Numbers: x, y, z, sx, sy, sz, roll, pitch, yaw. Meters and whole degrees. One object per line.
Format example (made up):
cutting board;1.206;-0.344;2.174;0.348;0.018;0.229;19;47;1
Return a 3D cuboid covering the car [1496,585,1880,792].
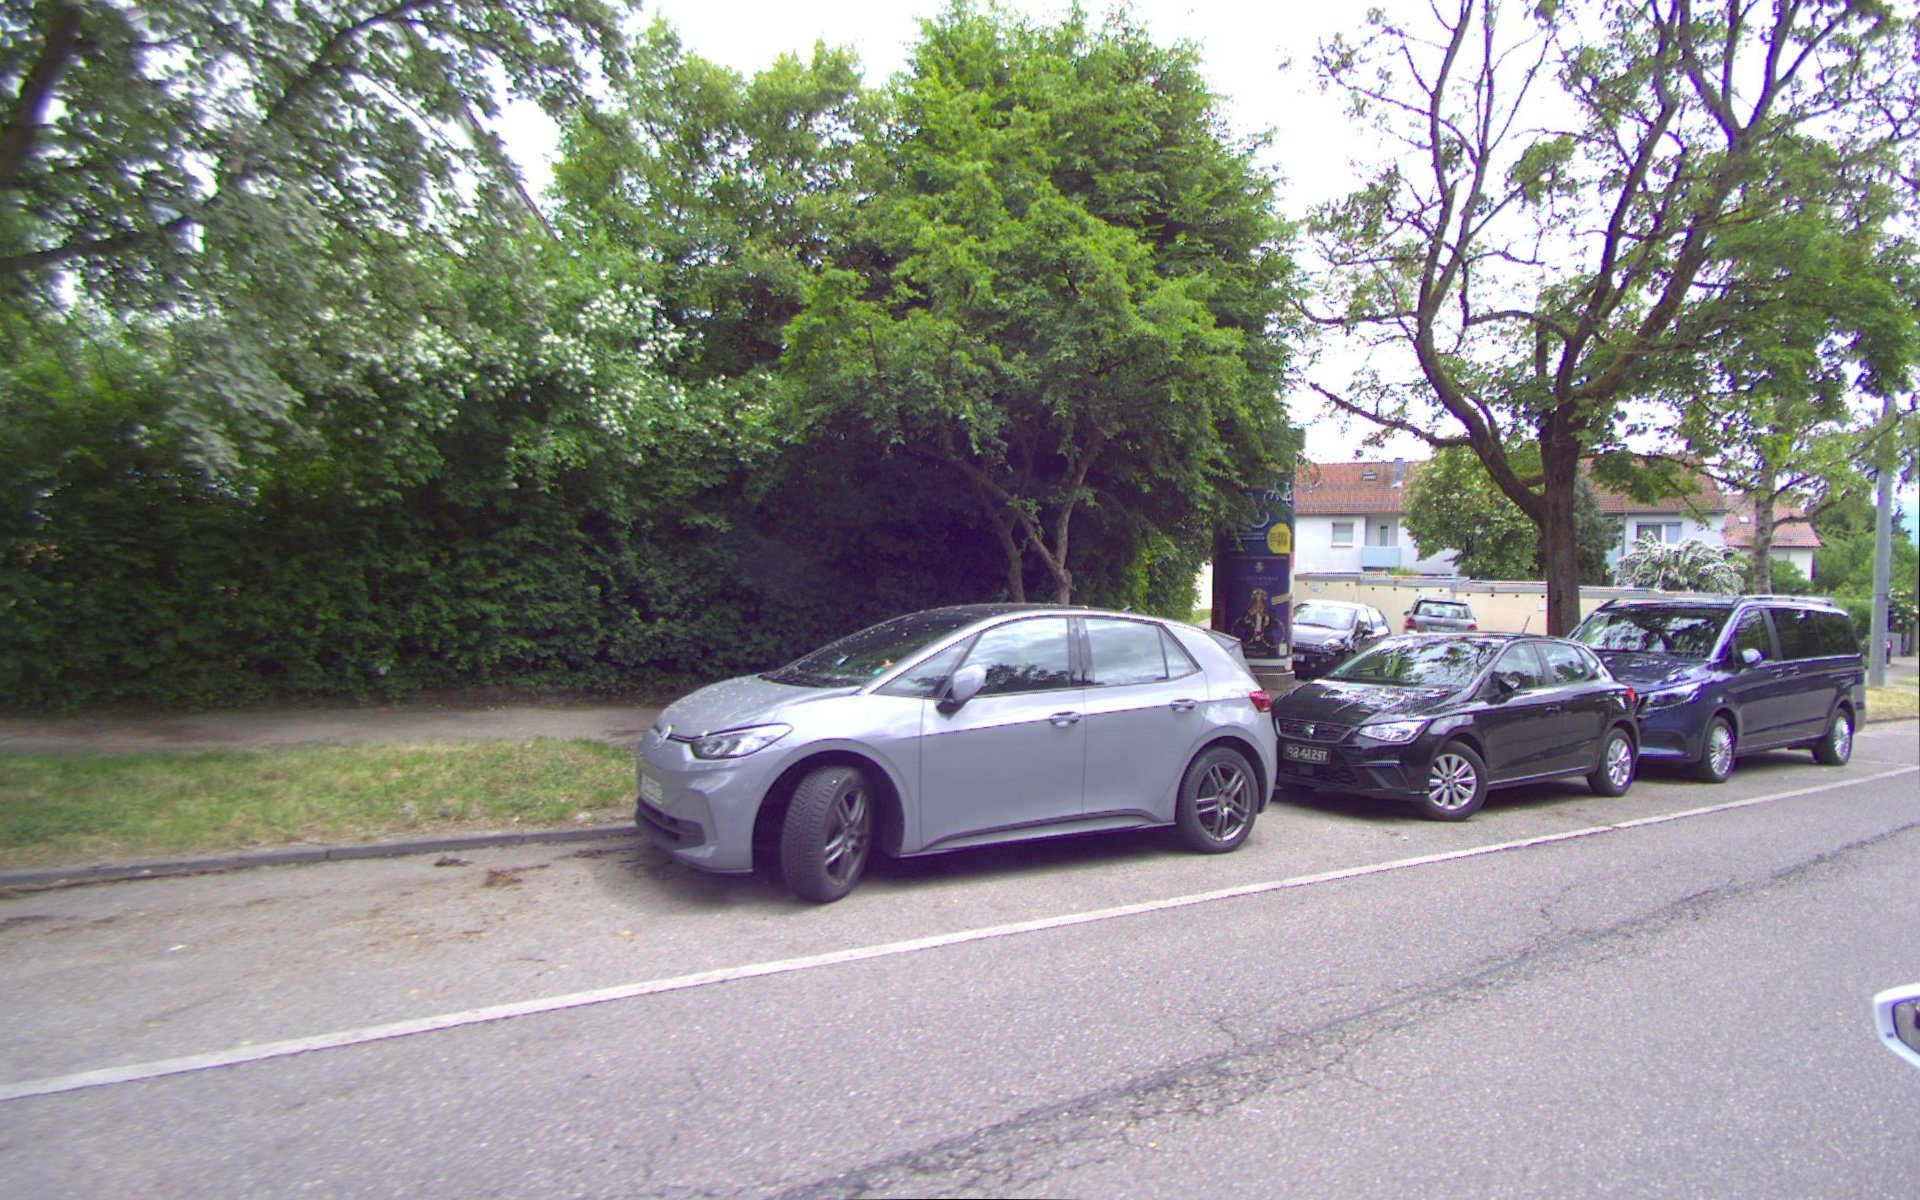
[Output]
car;8.507;0.898;11.587;5.028;1.934;1.847;2;0;-33

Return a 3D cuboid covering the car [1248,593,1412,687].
car;7.298;0.726;19.612;1.751;1.497;3.973;7;3;38

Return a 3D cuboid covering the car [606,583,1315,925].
car;0.097;0.752;6.451;4.178;1.558;1.857;2;0;-31
